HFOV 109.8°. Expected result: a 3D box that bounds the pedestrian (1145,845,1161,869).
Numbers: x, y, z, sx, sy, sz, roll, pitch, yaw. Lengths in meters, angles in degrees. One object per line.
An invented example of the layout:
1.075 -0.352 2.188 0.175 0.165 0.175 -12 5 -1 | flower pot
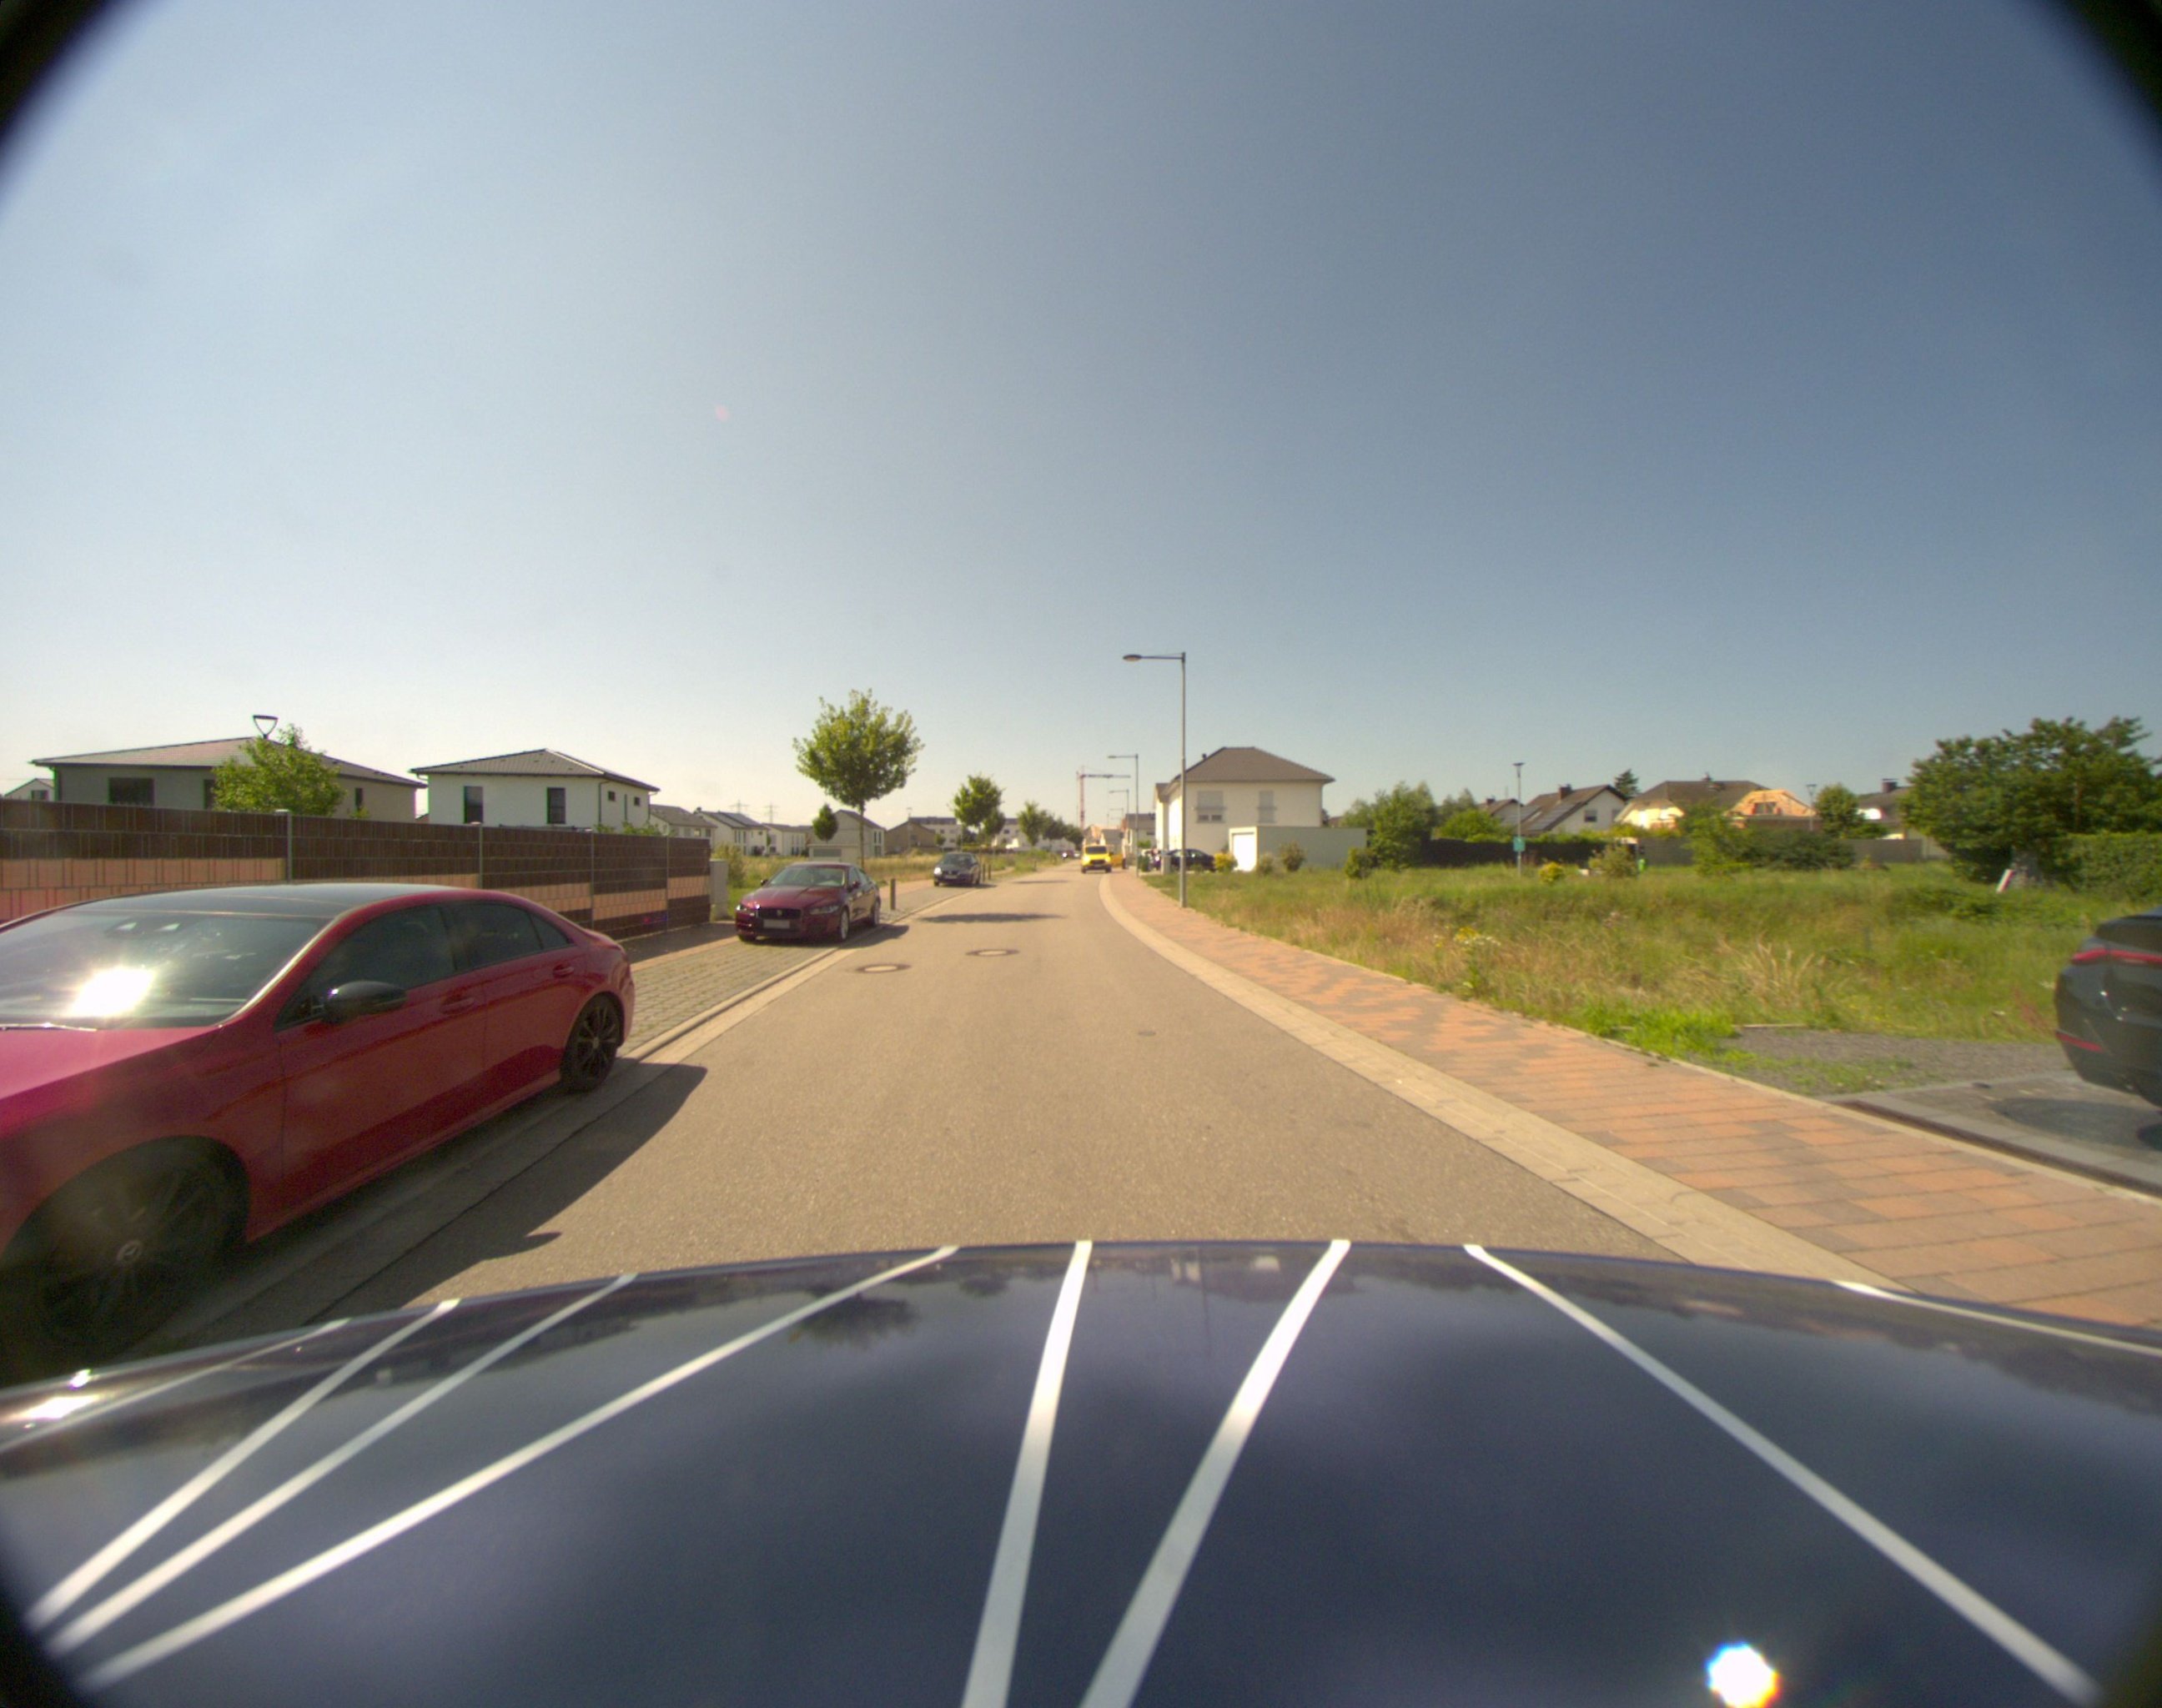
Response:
5.111 0.222 53.924 0.931 1.675 0.537 -3 1 12 | pedestrian

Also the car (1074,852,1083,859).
-0.435 0.279 143.864 1.493 1.389 3.272 -1 1 2 | car

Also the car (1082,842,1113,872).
1.089 0.185 53.416 1.889 2.002 4.840 -2 1 -2 | car

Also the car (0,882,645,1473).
-3.978 0.958 3.431 1.768 1.429 4.516 1 0 -6 | car

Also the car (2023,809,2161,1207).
6.610 0.589 2.784 4.388 1.622 1.770 -1 1 -4 | car

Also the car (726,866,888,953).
-5.172 0.961 15.020 1.759 1.355 4.573 0 0 -3 | car

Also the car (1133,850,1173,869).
7.287 0.562 77.493 3.996 1.842 2.000 -1 1 3 | car

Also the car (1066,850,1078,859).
-1.460 0.029 125.737 1.768 1.483 4.000 -1 1 2 | car

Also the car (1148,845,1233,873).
6.143 0.253 42.831 4.408 1.444 1.747 -2 1 -11 | car

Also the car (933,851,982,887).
-5.456 0.615 33.888 1.602 1.466 3.674 1 0 -1 | car
